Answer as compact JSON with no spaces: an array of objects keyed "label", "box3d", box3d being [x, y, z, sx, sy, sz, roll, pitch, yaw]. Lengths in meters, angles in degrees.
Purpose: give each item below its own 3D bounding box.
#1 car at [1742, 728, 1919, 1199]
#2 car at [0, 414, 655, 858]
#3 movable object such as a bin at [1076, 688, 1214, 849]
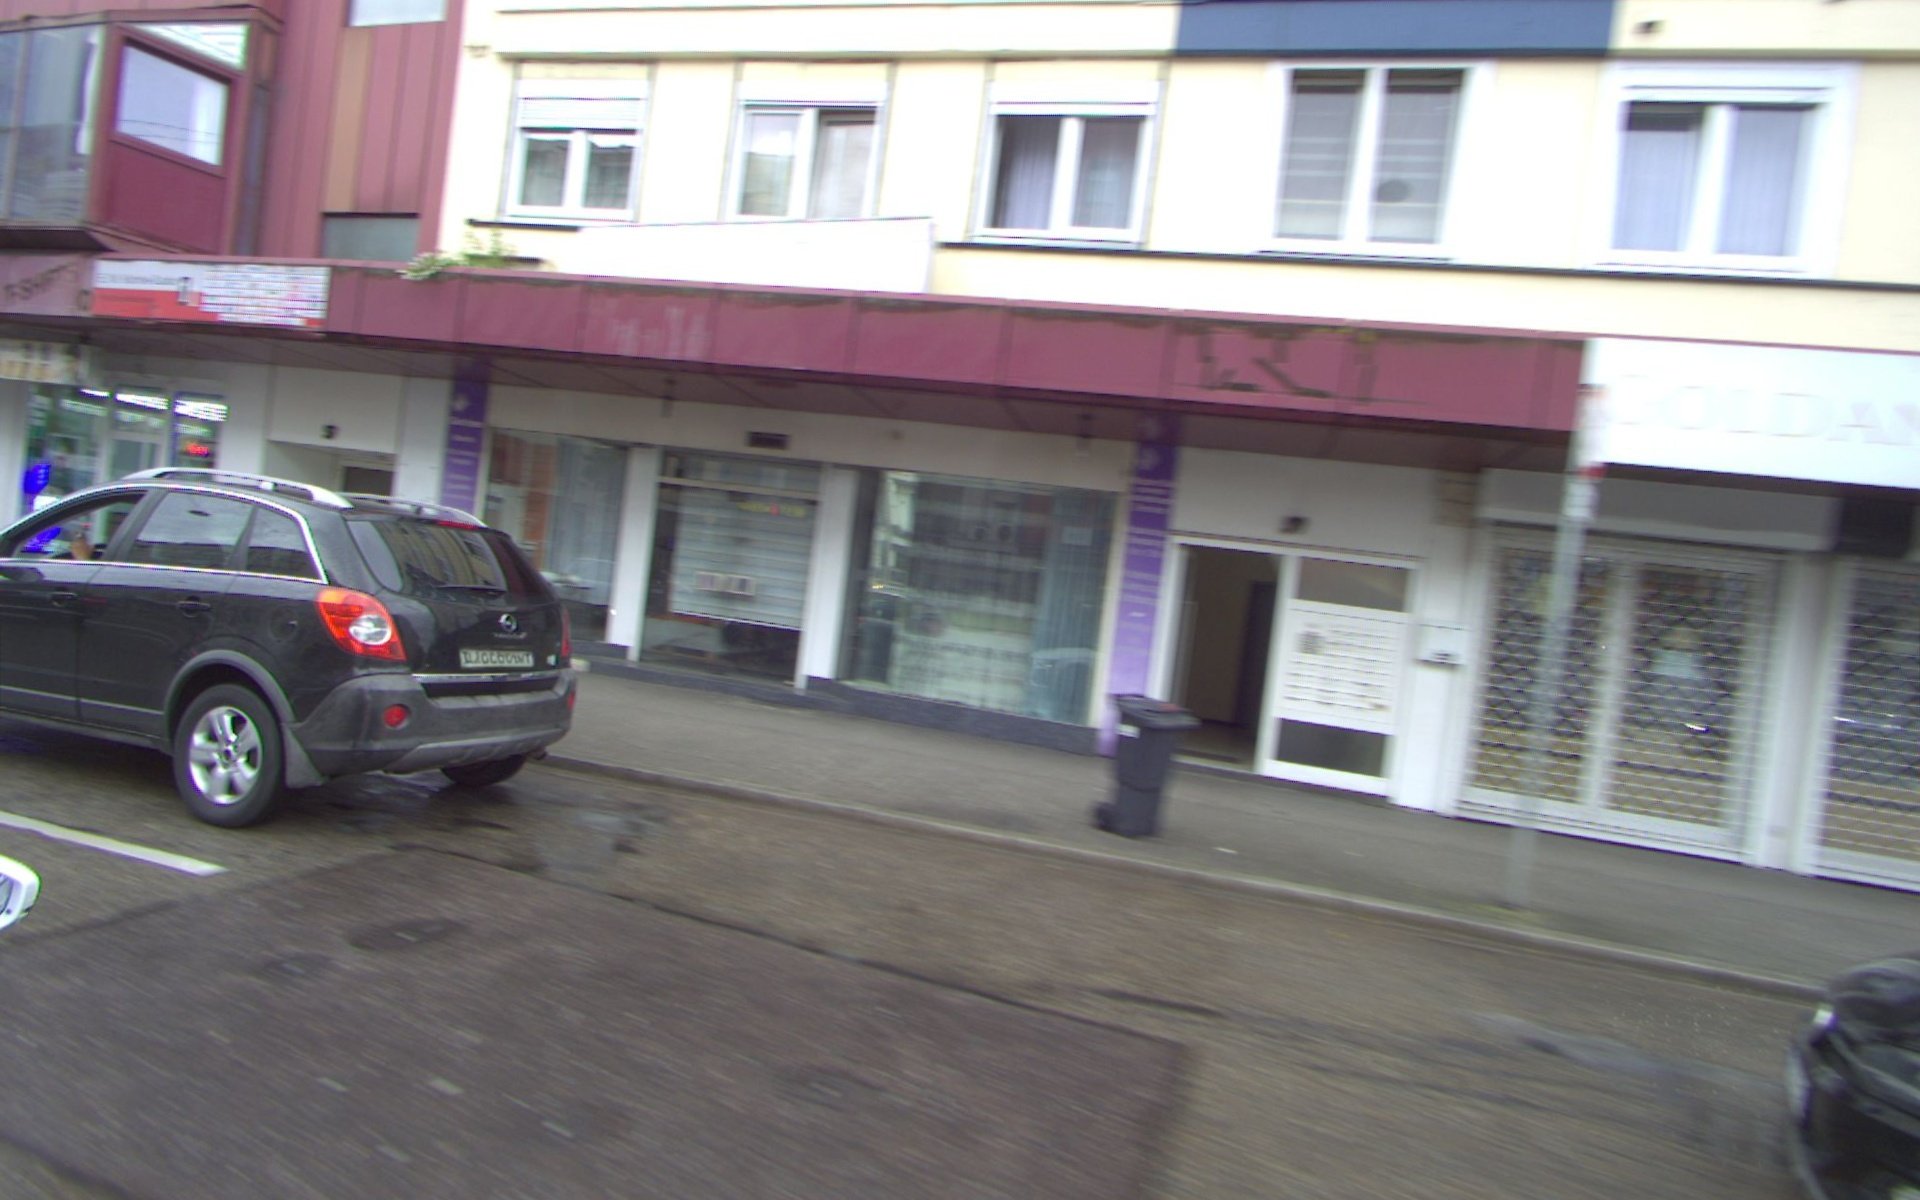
[{"label":"car","box3d":[4.057,1.319,1.947,3.821,1.447,1.739,7,-2,37]},{"label":"car","box3d":[-4.310,0.052,6.041,4.220,1.807,1.915,8,-1,17]},{"label":"movable object such as a bin","box3d":[1.275,1.134,6.977,0.527,0.947,0.665,3,5,-37]}]
